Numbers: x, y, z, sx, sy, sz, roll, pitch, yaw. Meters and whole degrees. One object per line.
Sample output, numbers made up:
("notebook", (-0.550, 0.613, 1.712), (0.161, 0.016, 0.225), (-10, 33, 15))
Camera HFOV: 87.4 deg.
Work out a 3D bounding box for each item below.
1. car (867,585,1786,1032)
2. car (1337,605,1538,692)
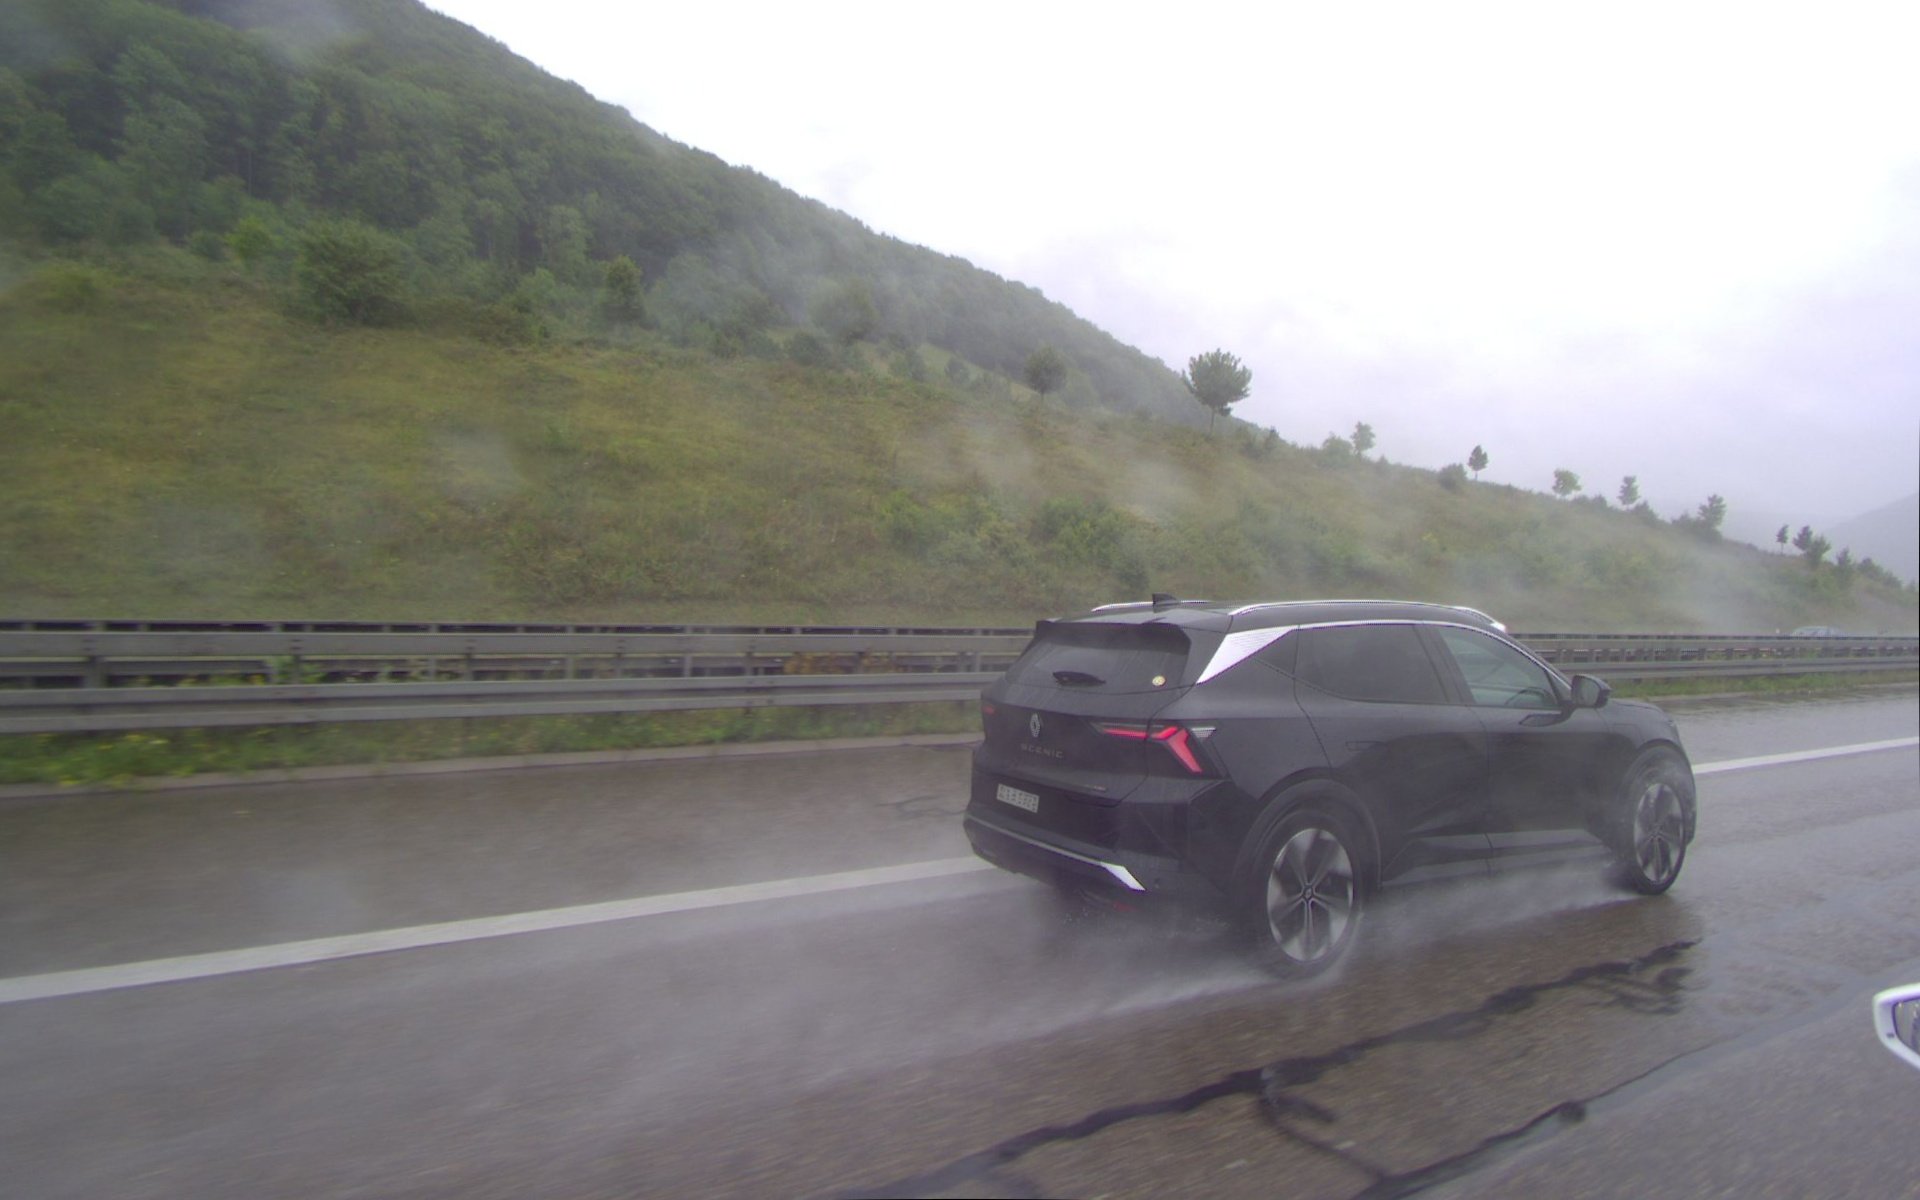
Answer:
("car", (2.126, 0.762, 5.674), (4.726, 1.535, 2.395), (1, 0, -29))
("car", (12.304, 1.192, 25.774), (5.325, 2.040, 1.984), (1, -1, -30))
